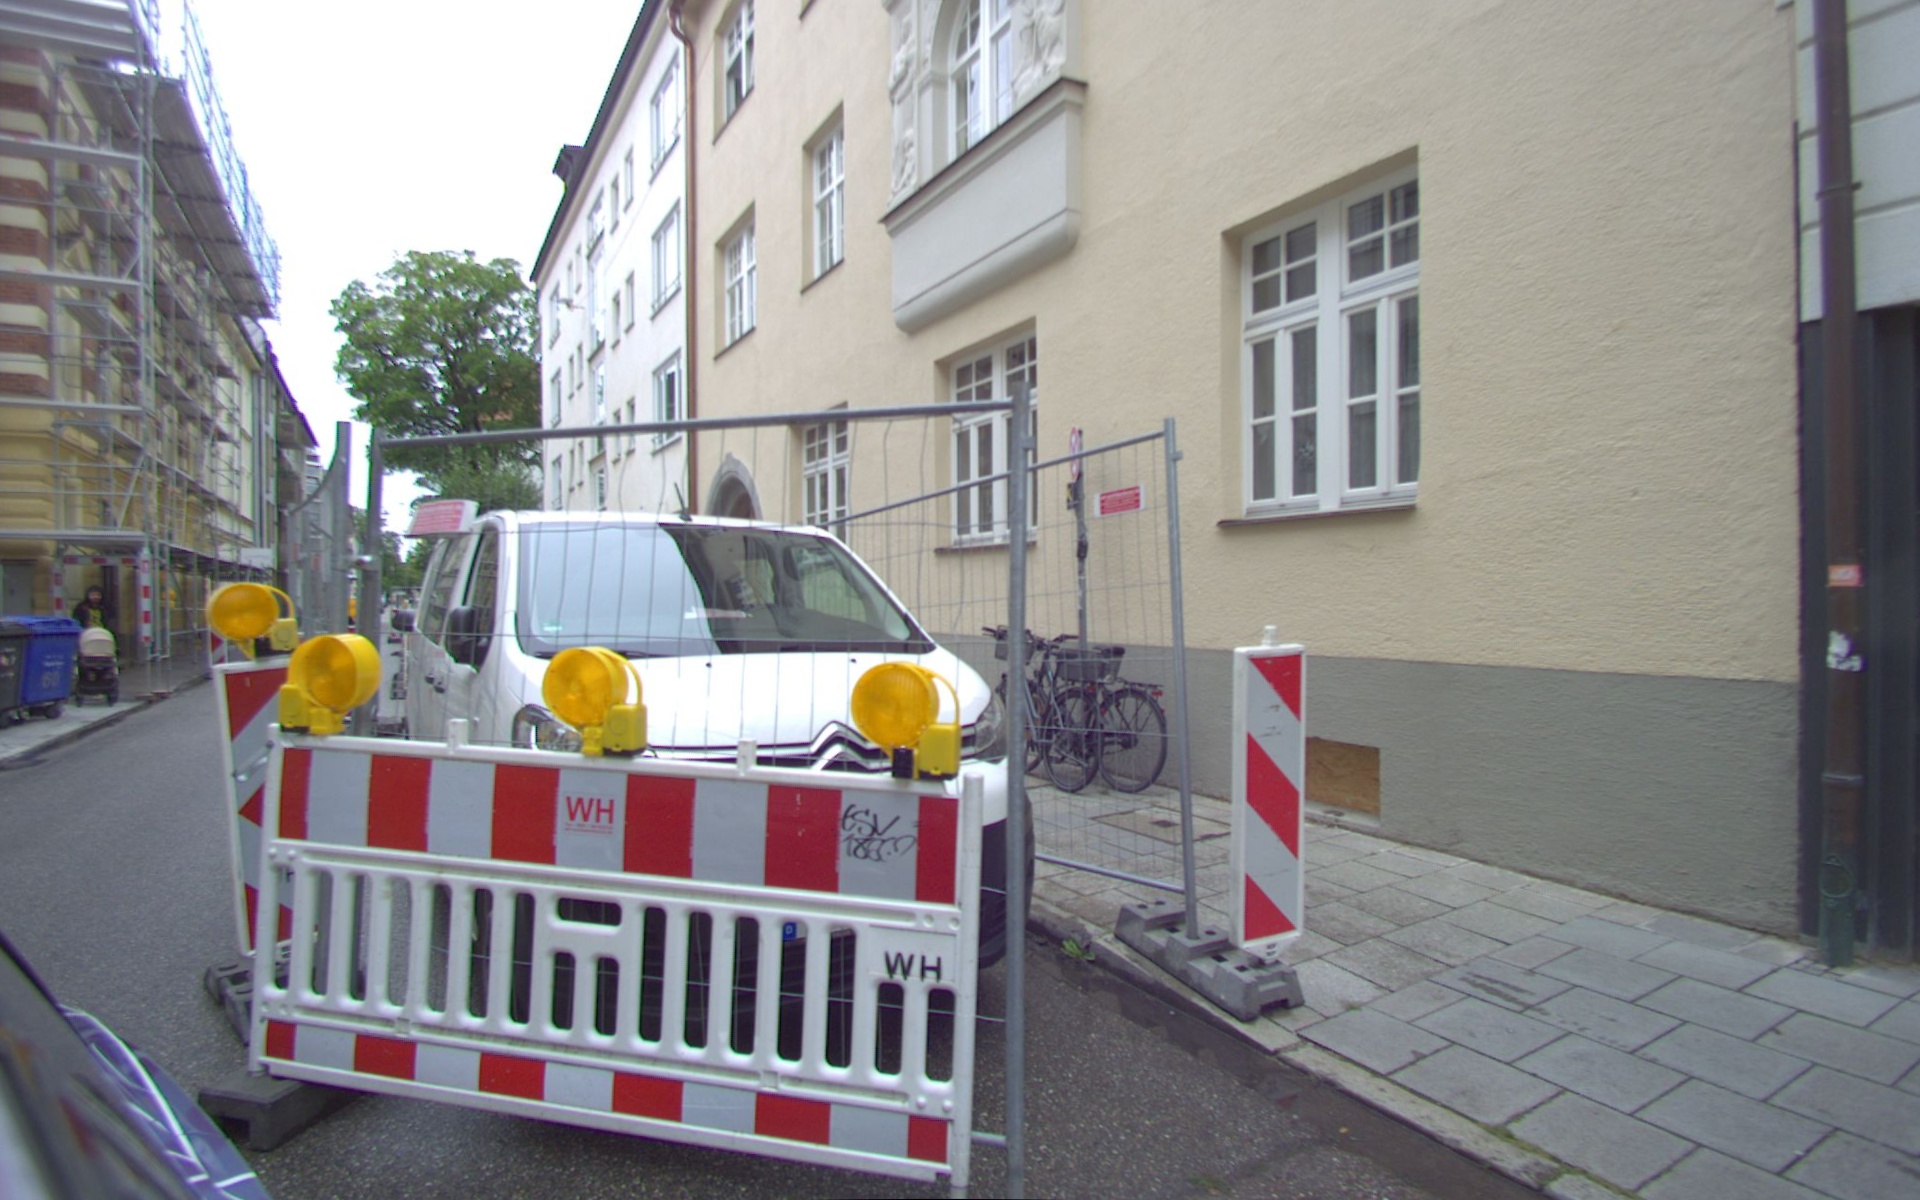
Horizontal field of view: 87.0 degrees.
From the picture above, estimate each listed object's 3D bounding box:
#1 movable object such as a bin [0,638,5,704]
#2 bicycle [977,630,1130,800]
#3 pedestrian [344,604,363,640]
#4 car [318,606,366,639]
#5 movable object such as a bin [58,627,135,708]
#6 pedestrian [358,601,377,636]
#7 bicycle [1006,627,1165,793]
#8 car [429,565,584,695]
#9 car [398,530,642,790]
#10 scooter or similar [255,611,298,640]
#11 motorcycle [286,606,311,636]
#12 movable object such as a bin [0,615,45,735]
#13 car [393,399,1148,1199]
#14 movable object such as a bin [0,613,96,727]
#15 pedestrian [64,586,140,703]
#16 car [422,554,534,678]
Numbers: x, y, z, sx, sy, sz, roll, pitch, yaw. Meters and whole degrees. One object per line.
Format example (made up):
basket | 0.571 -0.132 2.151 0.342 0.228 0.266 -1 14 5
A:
movable object such as a bin | -11.280 0.955 10.886 1.194 1.103 0.792 3 -2 -21
bicycle | 0.636 0.773 7.289 0.299 1.059 1.395 -3 1 -30
pedestrian | -29.522 1.054 49.295 0.649 1.699 0.588 -3 1 -24
car | -32.012 1.112 52.520 1.747 1.535 4.079 -3 1 -27
movable object such as a bin | -12.973 1.010 15.230 0.719 1.149 0.991 4 -2 -34
pedestrian | -29.867 0.944 51.003 0.649 1.699 0.548 -4 1 -24
bicycle | 0.882 0.755 7.469 0.299 1.059 1.459 -3 1 -30
car | -7.938 0.449 17.435 1.890 1.912 4.805 1 -1 -30
car | -4.712 0.451 10.289 1.703 1.912 5.526 1 0 -29
scooter or similar | -29.319 1.086 43.420 0.490 1.192 1.602 2 -1 11
motorcycle | -33.815 1.070 51.724 0.793 1.434 1.938 5 -3 -28
movable object such as a bin | -11.662 0.851 11.765 1.110 1.356 1.175 3 -2 -21
car | -1.545 0.476 4.983 1.878 1.911 5.103 -1 1 -32
movable object such as a bin | -12.071 0.866 12.929 1.071 1.356 1.321 2 -1 -17
pedestrian | -13.443 0.683 15.877 0.719 1.766 0.991 4 -2 -34
car | -11.863 0.329 24.619 1.966 2.598 6.757 0 0 -30
